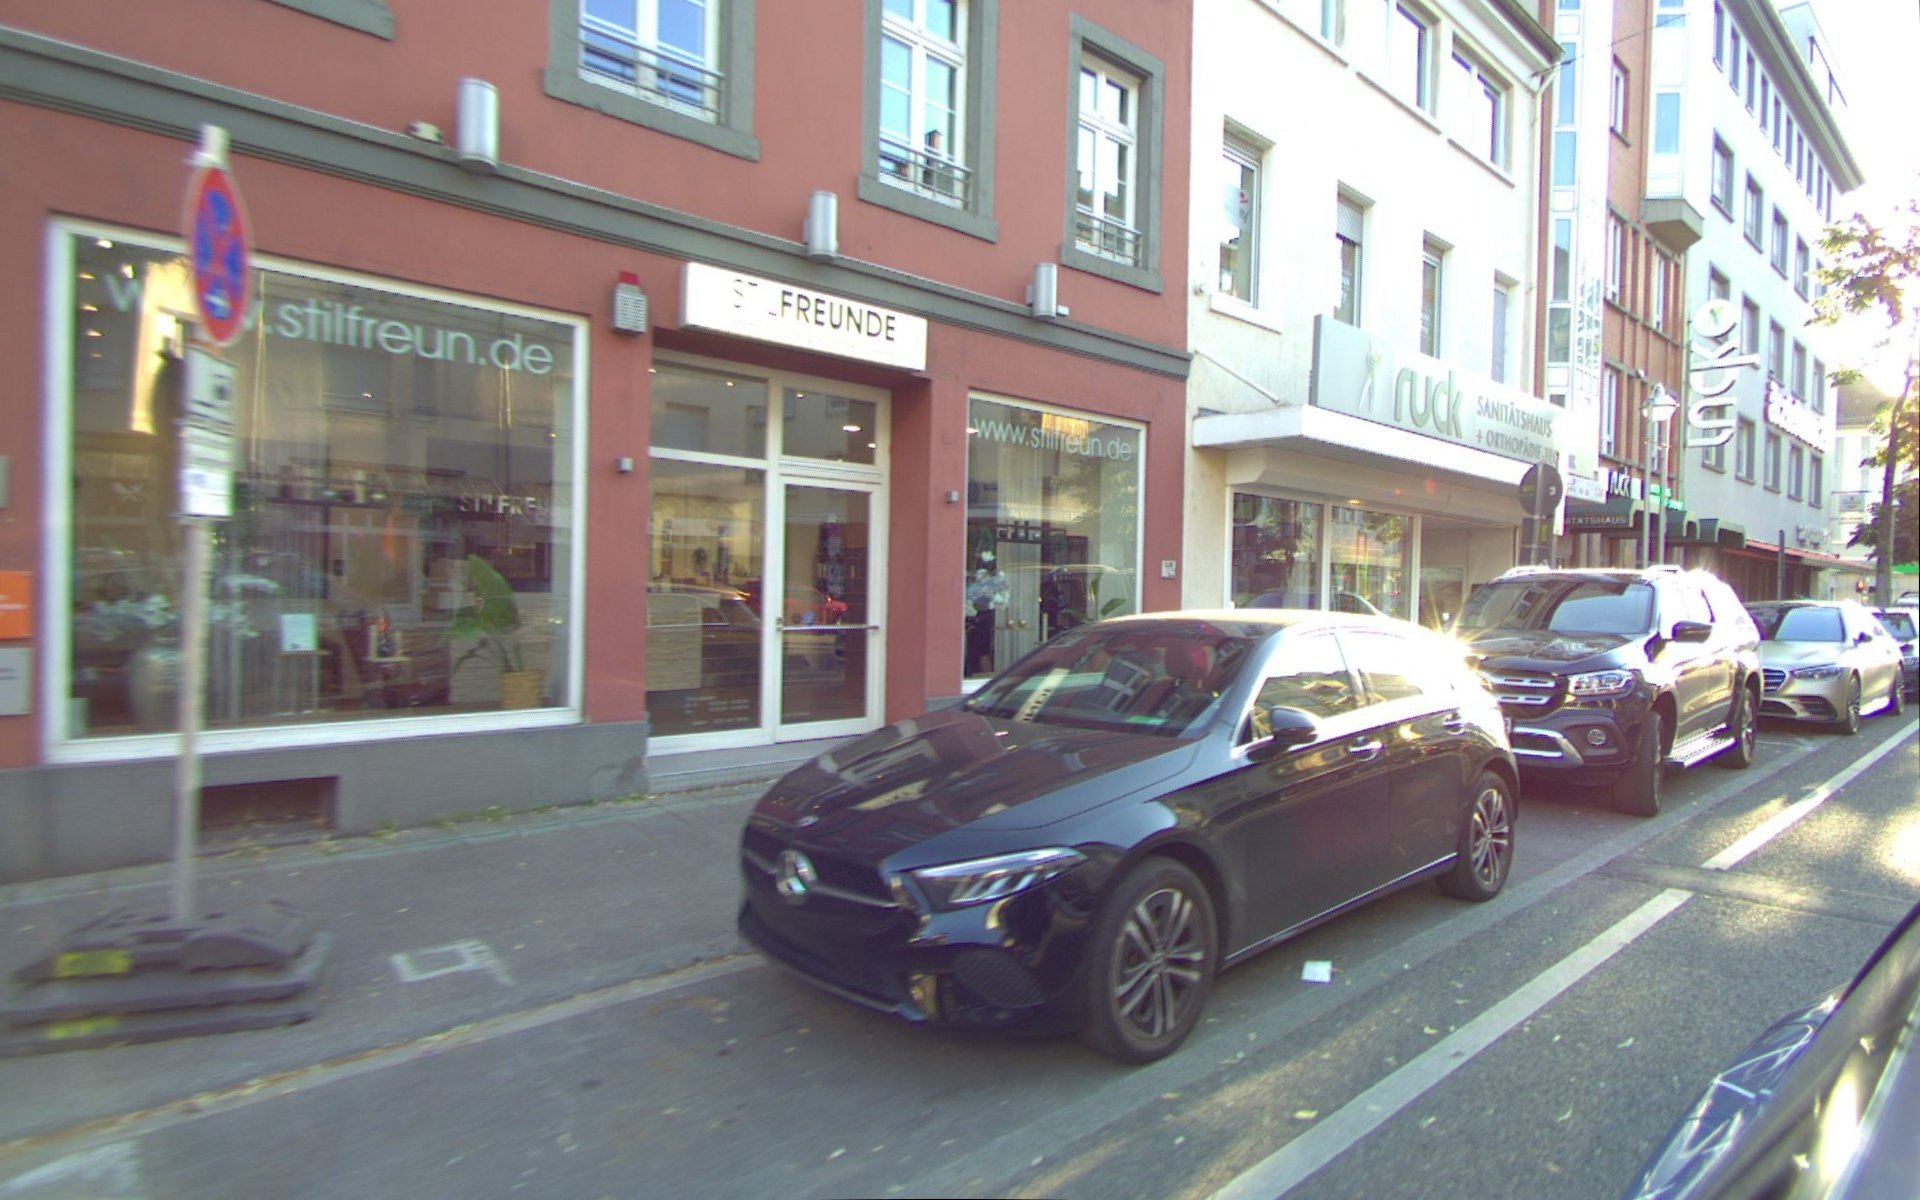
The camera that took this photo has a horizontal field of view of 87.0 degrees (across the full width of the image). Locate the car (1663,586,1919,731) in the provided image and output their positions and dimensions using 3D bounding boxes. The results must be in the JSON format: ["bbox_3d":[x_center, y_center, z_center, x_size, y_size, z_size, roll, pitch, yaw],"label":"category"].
[{"bbox_3d":[10.987,0.597,13.116,4.904,1.546,1.816,-1,1,-39],"label":"car"}]

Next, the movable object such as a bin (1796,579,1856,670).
[{"bbox_3d":[17.759,0.479,20.742,1.331,1.796,0.835,0,0,-45],"label":"movable object such as a bin"}]

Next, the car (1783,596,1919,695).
[{"bbox_3d":[15.161,0.680,16.734,4.431,1.438,1.755,1,0,-42],"label":"car"}]

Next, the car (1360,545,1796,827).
[{"bbox_3d":[5.554,0.510,8.759,4.972,1.776,1.886,-1,1,-42],"label":"car"}]

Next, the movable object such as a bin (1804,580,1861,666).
[{"bbox_3d":[18.661,0.466,21.651,1.186,1.796,0.835,0,0,-45],"label":"movable object such as a bin"}]

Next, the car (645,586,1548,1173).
[{"bbox_3d":[0.939,0.687,4.648,4.231,1.502,1.765,-1,1,-41],"label":"car"}]

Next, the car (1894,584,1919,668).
[{"bbox_3d":[22.317,0.570,22.818,3.945,1.801,1.655,1,0,-44],"label":"car"}]
